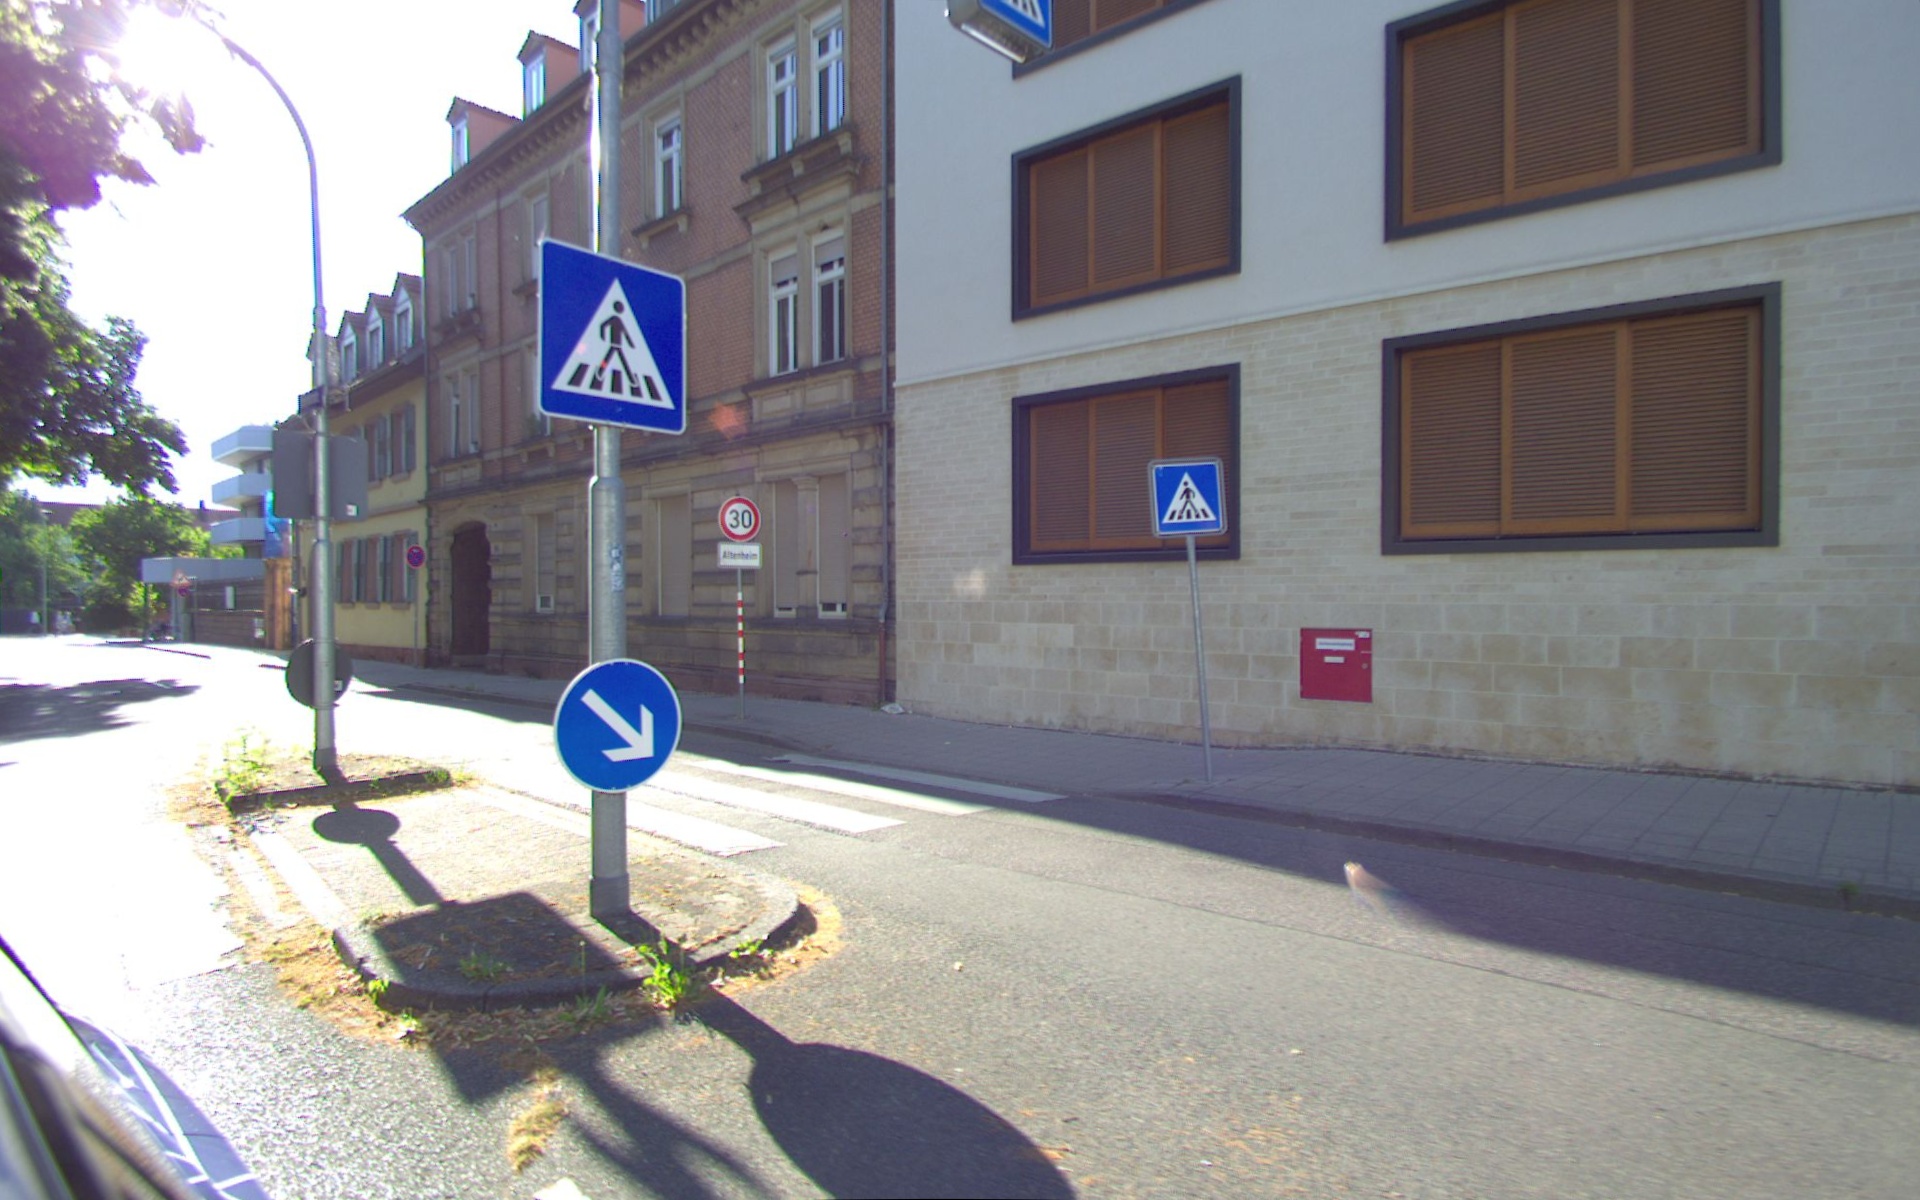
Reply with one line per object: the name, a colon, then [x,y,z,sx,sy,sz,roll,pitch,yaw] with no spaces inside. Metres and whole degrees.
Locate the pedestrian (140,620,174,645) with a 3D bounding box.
pedestrian: [-43.290,1.747,54.591,1.139,1.238,0.843,-2,2,-11]

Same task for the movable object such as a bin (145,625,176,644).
movable object such as a bin: [-43.247,1.866,54.747,1.021,0.935,0.843,-2,1,-11]

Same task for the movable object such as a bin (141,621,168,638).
movable object such as a bin: [-47.590,1.761,59.806,0.839,0.935,1.025,-1,2,37]

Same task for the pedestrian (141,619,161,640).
pedestrian: [-47.700,1.736,59.677,0.839,1.194,0.734,-1,2,38]
